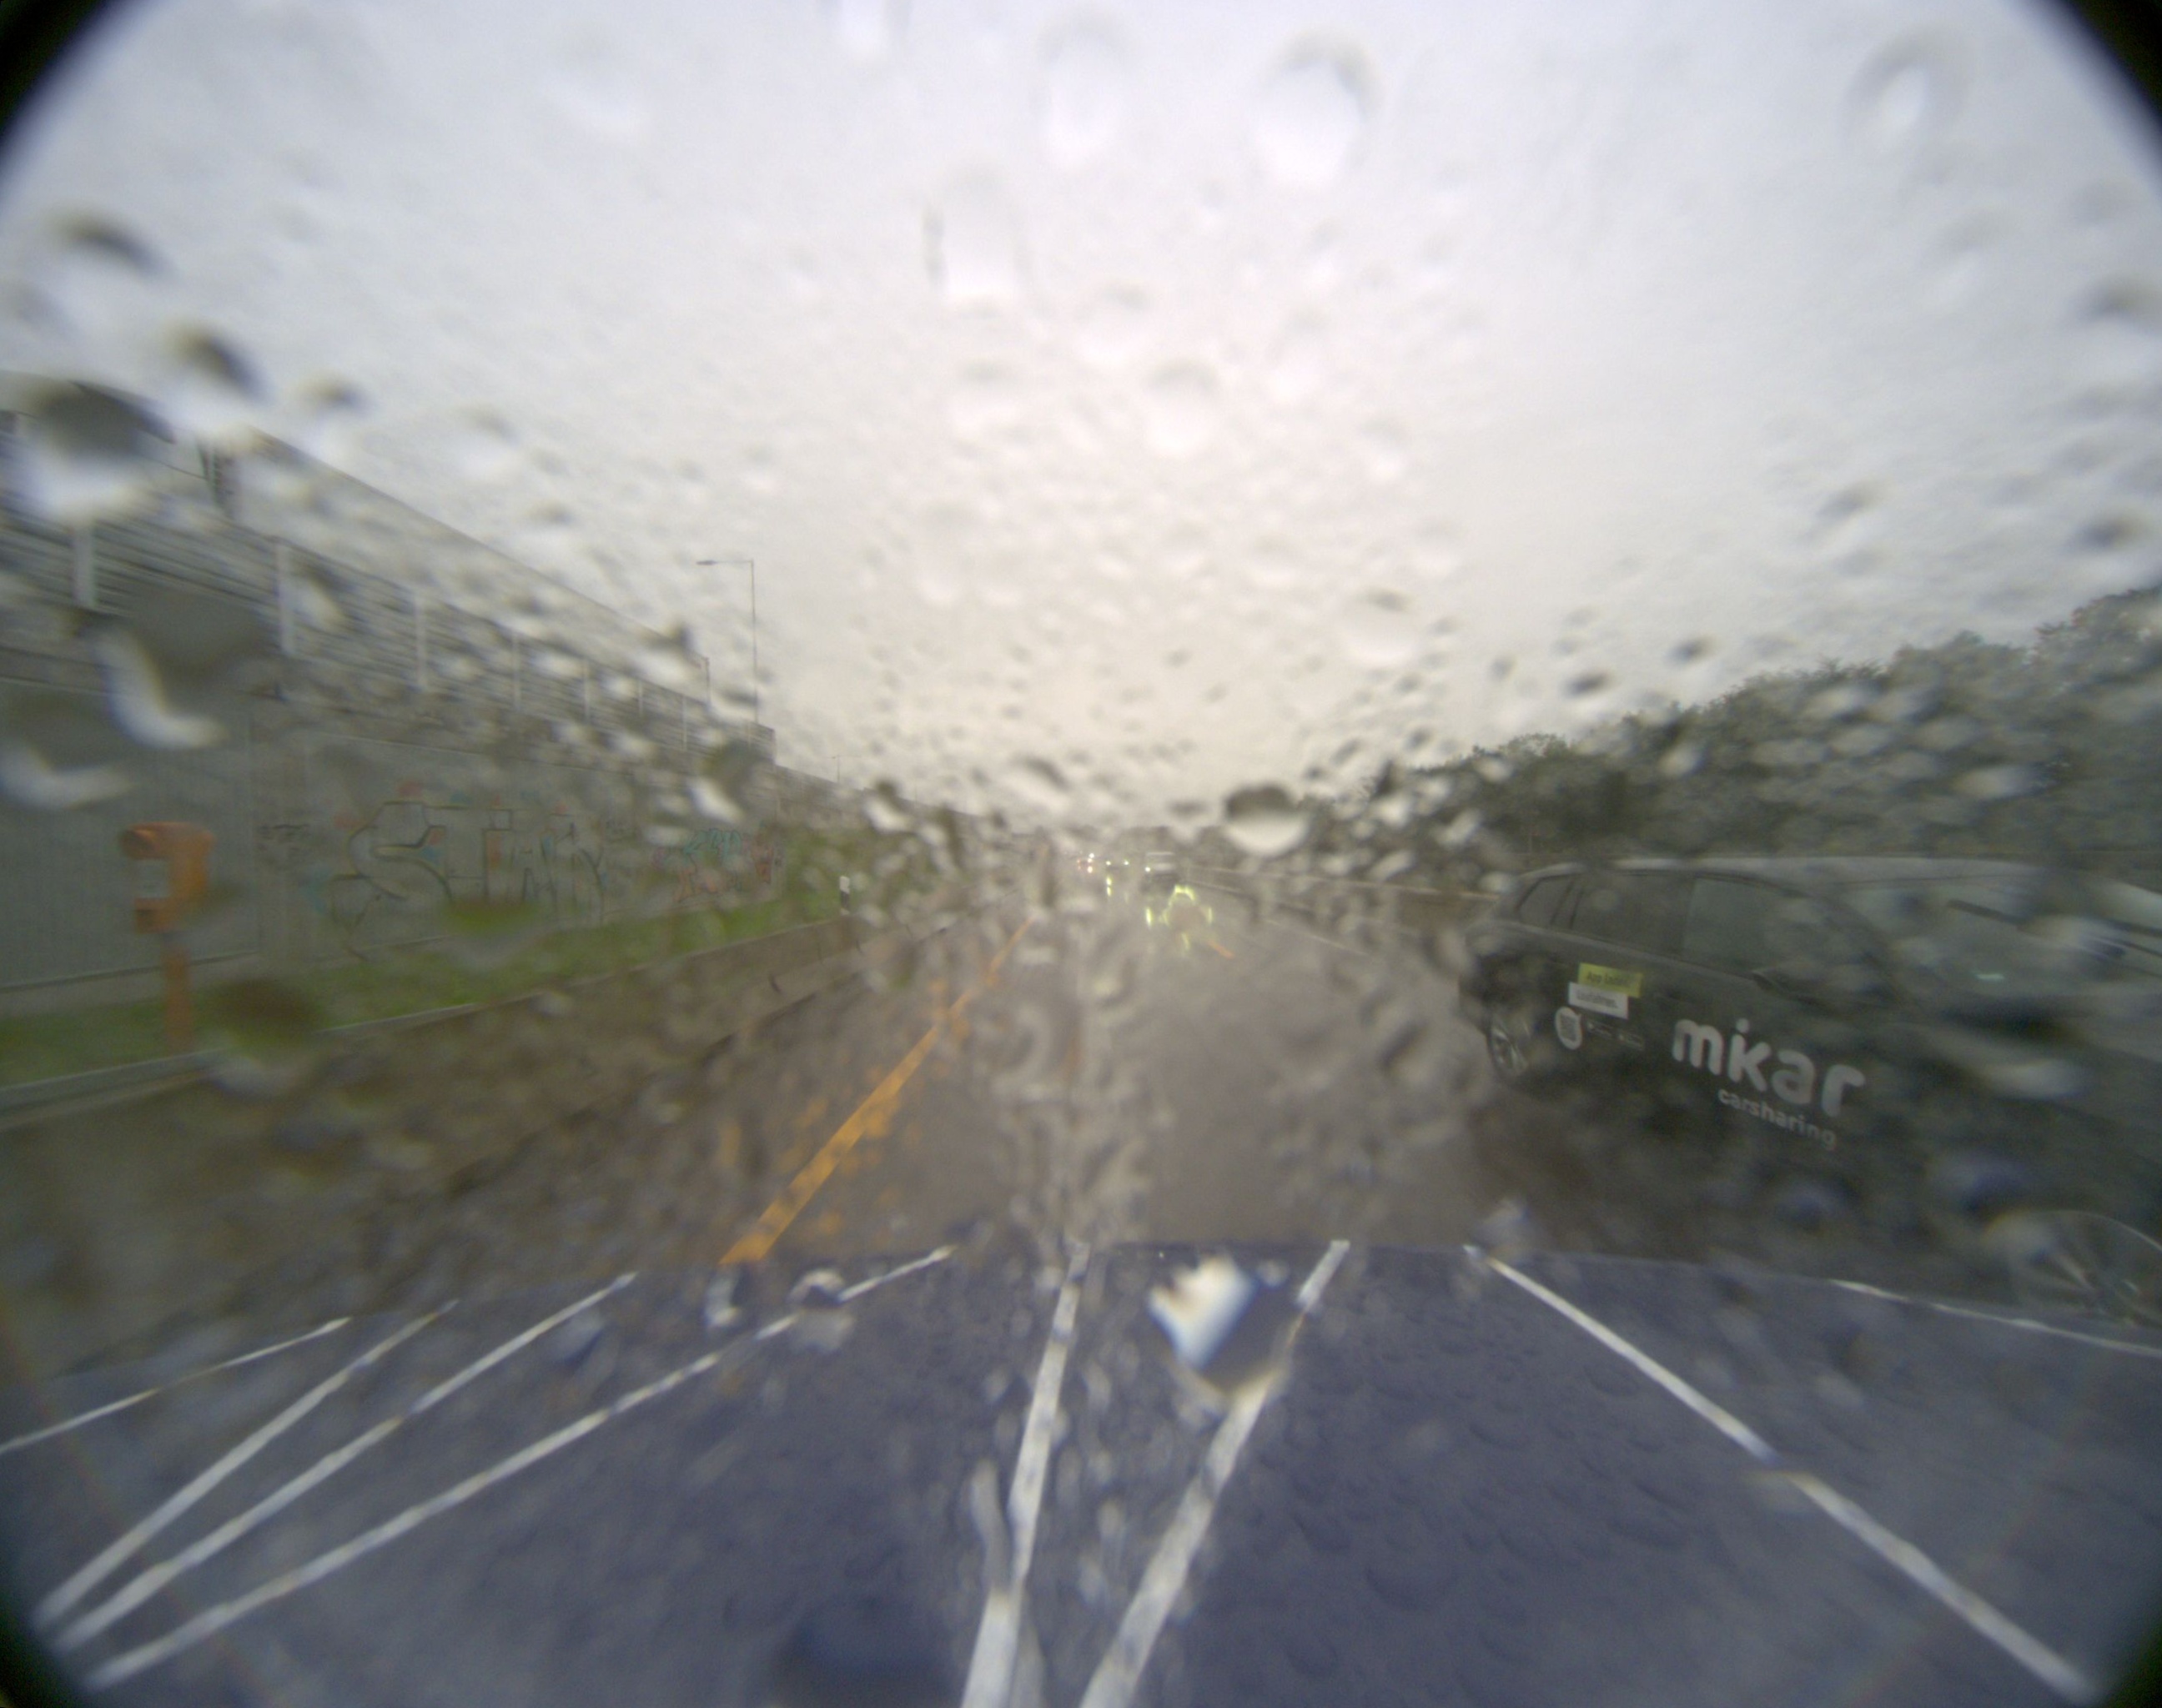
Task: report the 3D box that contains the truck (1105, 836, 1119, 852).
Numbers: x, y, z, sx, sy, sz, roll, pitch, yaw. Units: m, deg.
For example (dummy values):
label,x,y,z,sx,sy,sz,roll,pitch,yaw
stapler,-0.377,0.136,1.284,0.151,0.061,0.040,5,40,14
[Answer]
label,x,y,z,sx,sy,sz,roll,pitch,yaw
truck,8.236,-2.733,201.935,3.012,4.143,9.827,-1,2,-1

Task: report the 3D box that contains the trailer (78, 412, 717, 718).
label,x,y,z,sx,sy,sz,roll,pitch,yaw
trailer,-12.810,-5.247,17.473,1.998,2.094,13.764,-2,2,1

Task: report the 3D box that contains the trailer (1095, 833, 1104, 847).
label,x,y,z,sx,sy,sz,roll,pitch,yaw
trailer,6.503,-4.949,268.742,2.554,4.564,12.004,-2,2,-1

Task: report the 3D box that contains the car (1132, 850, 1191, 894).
label,x,y,z,sx,sy,sz,roll,pitch,yaw
car,3.495,0.759,33.714,1.972,1.671,3.998,-2,2,-3

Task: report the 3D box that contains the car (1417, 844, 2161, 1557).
label,x,y,z,sx,sy,sz,roll,pitch,yaw
car,3.365,0.753,3.076,1.943,1.518,4.796,-2,0,1

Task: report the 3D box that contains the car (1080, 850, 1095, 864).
label,x,y,z,sx,sy,sz,roll,pitch,yaw
car,0.843,0.396,101.334,1.999,1.762,3.998,-2,2,0

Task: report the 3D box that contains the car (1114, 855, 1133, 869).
label,x,y,z,sx,sy,sz,roll,pitch,yaw
car,3.579,0.699,64.898,1.335,1.105,3.198,1,0,-2

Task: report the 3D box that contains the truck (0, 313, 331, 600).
label,x,y,z,sx,sy,sz,roll,pitch,yaw
truck,-12.879,-4.984,9.909,1.998,2.002,4.057,-2,2,1
